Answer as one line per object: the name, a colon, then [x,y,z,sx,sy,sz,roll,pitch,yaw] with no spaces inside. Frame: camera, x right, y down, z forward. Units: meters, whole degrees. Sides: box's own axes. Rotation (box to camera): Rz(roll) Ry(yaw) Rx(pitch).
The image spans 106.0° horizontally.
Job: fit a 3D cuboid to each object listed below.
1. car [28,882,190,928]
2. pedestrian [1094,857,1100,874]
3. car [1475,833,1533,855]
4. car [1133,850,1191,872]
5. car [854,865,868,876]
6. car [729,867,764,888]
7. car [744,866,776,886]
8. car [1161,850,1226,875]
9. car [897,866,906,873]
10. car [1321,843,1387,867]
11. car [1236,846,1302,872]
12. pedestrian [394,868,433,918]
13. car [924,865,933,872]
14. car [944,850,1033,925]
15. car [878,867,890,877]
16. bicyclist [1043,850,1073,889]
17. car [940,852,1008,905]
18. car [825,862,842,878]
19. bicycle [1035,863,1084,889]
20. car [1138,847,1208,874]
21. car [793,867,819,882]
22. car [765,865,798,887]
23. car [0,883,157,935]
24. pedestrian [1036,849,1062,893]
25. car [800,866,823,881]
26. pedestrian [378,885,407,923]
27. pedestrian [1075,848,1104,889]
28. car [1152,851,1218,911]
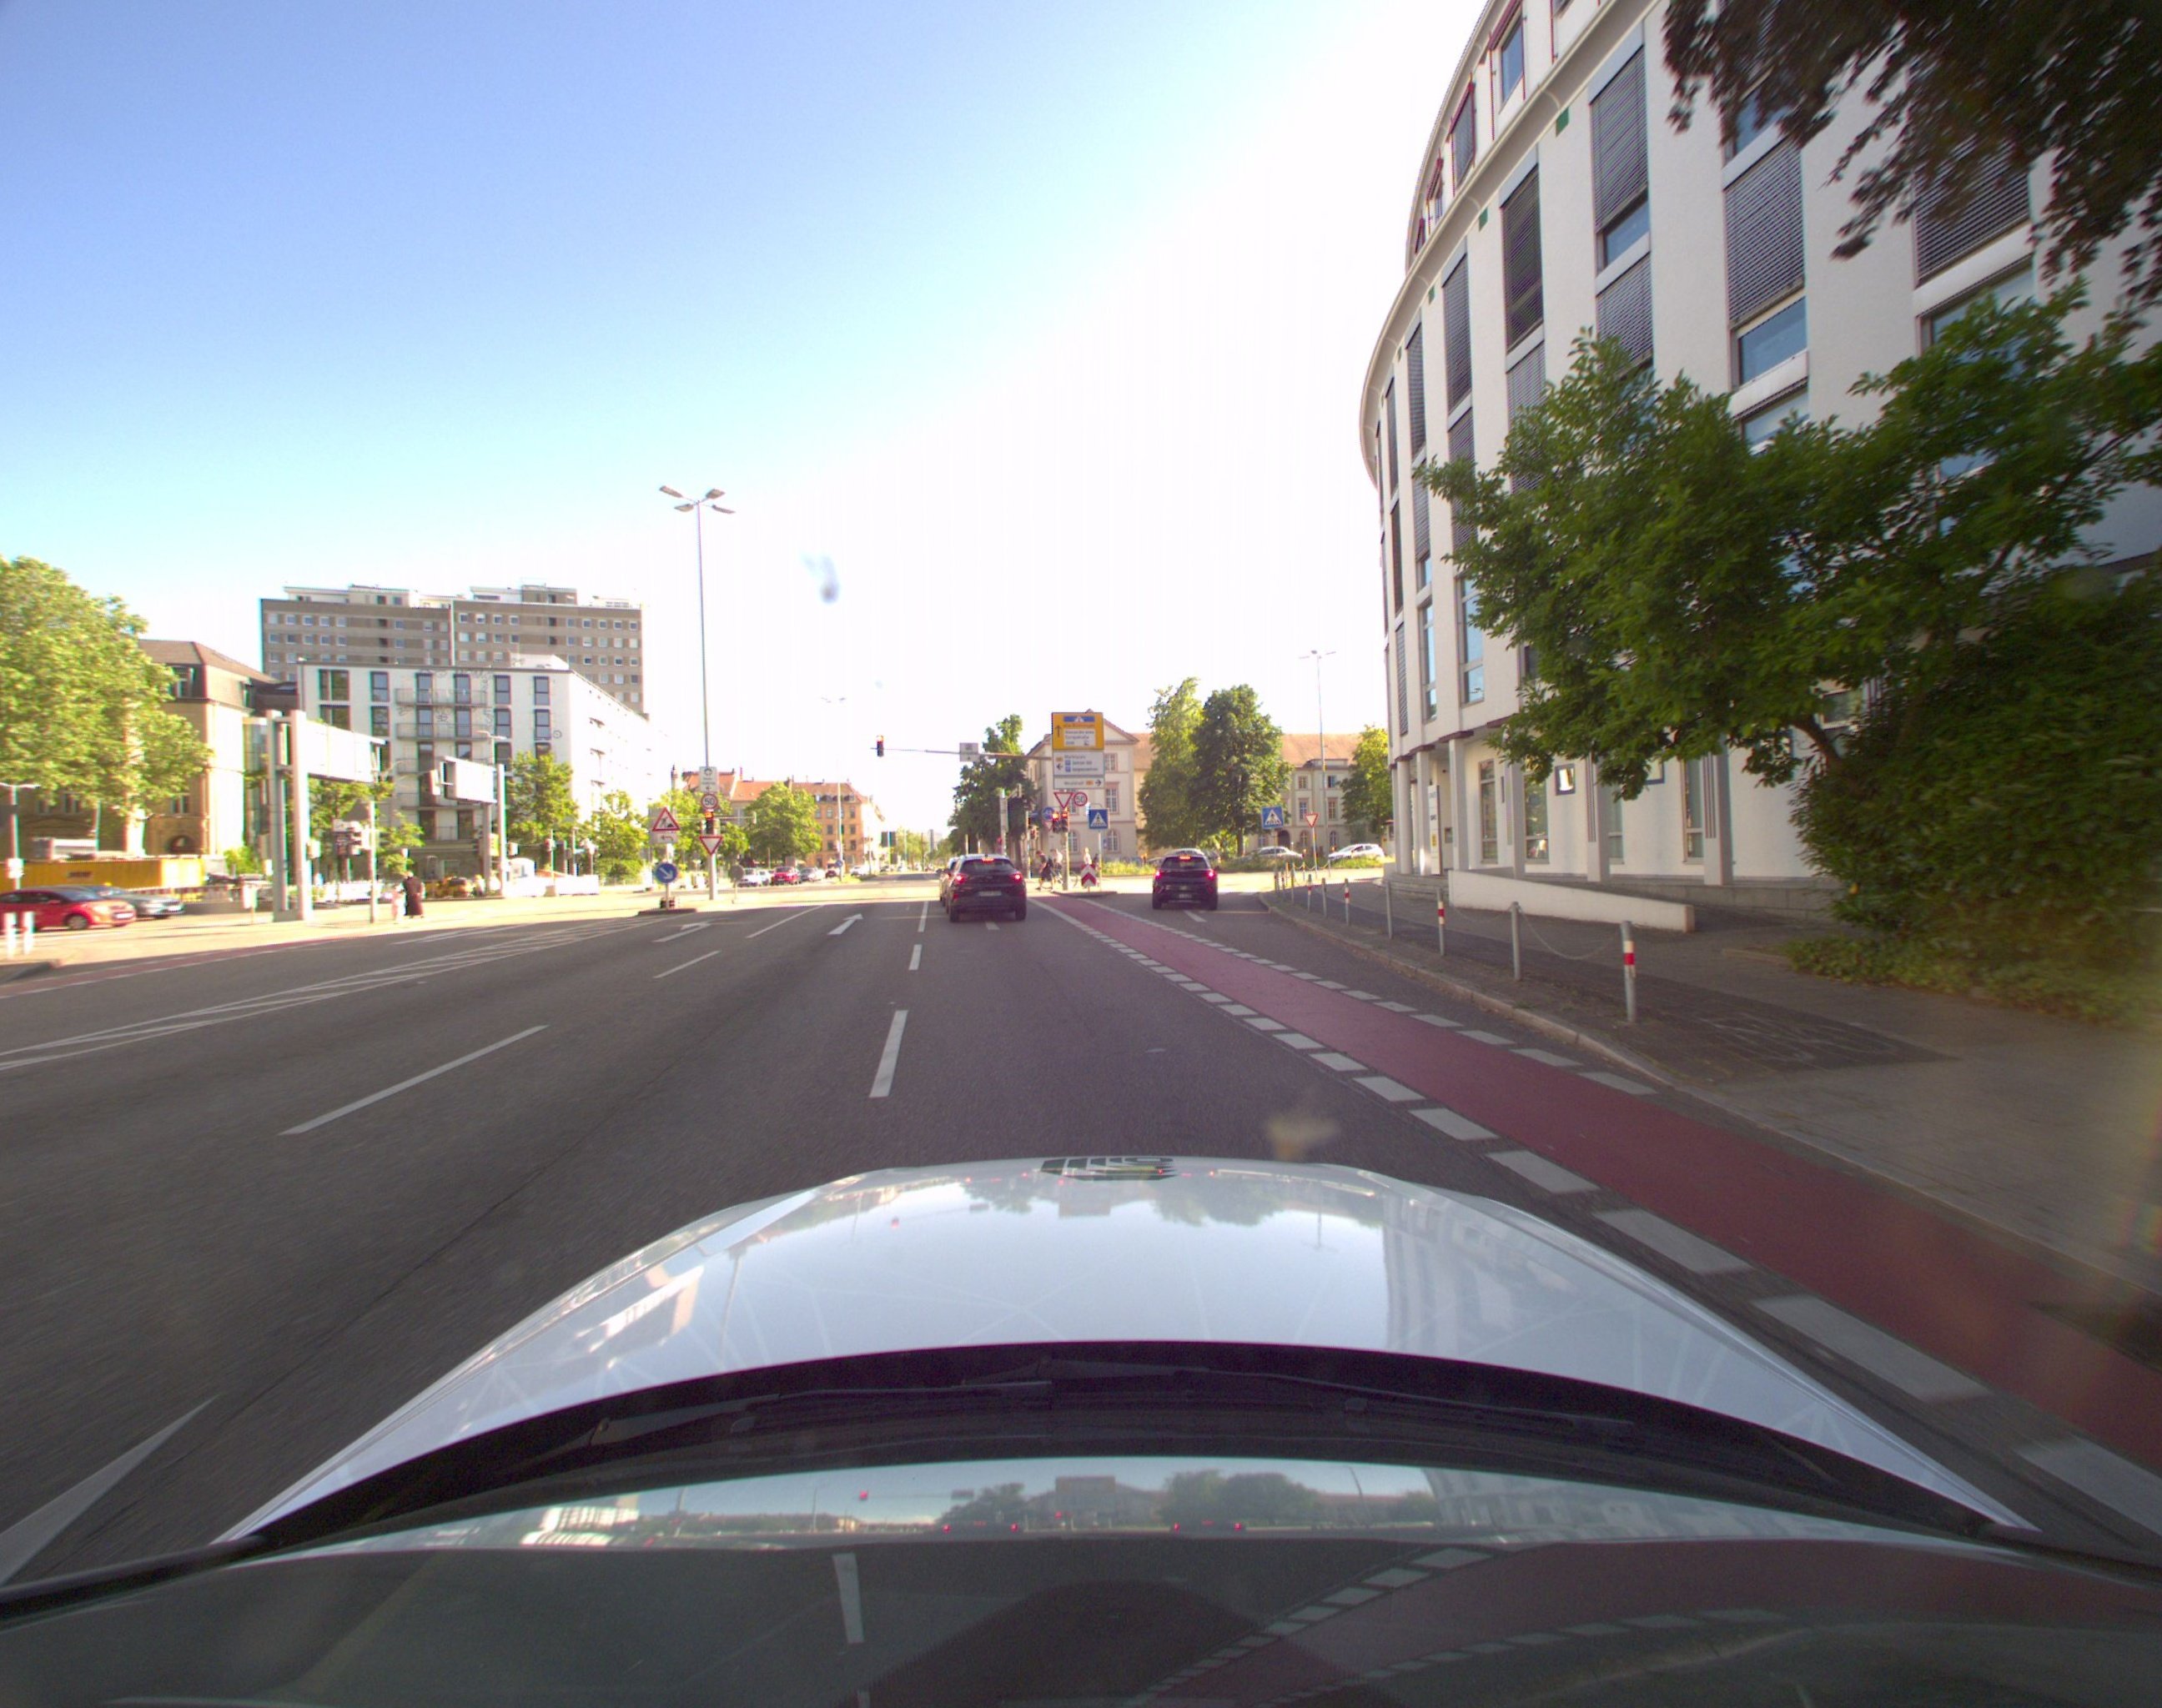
car: [-38.045,1.967,31.992,3.645,1.515,1.836,-3,0,-15]
pedestrian: [1.486,1.049,75.323,0.440,1.615,0.466,1,-1,-5]
car: [34.656,-0.816,66.786,3.996,1.644,1.912,-2,0,-17]
car: [6.286,0.549,63.554,4.125,1.601,1.811,-2,0,-18]
car: [-35.600,2.641,131.663,1.811,1.634,3.985,-2,0,-11]
car: [-27.574,1.899,67.296,1.875,1.617,3.985,-2,0,-11]
car: [-29.043,1.956,73.797,1.875,1.617,3.985,-2,0,-11]
car: [7.922,0.593,57.559,4.125,1.601,1.811,-2,0,-18]
car: [-37.312,3.223,169.431,1.811,1.448,3.985,-2,0,-11]
car: [19.432,0.081,58.046,4.185,1.508,1.811,-2,0,-18]
car: [12.862,0.348,55.775,3.995,1.644,1.913,-2,0,-16]
pedestrian: [-22.616,1.321,27.604,0.667,1.649,0.837,-2,0,35]
car: [-34.814,3.328,185.926,1.811,1.448,3.985,-2,0,-11]
car: [-2.348,0.745,19.863,1.831,1.578,3.825,-2,0,-11]
car: [-36.487,3.305,150.935,1.811,1.634,3.985,-2,0,-11]
bicyclist: [-0.985,0.673,35.096,1.166,1.633,0.726,-1,0,-14]
car: [-3.400,0.712,25.313,1.831,1.452,3.973,-2,0,-11]
car: [-33.985,2.208,111.835,1.811,2.134,3.985,-2,0,-11]
bicycle: [-0.917,0.937,35.098,2.034,1.061,0.619,-1,0,-14]
car: [6.038,0.439,53.433,4.125,1.601,1.811,-2,0,-18]
car: [-27.721,2.055,82.118,1.875,1.448,3.985,-2,0,-11]
car: [-24.240,1.765,66.076,1.792,1.617,3.985,-2,0,-11]
car: [-35.098,1.892,28.177,3.645,1.515,1.836,-3,0,-15]
pedestrian: [-1.305,0.677,32.672,0.827,1.702,0.912,-1,0,-16]
car: [-29.159,2.085,88.247,1.875,1.448,3.985,-2,0,-11]
pedestrian: [-22.469,1.621,26.580,0.667,1.166,0.668,-1,-1,-44]
pedestrian: [0.352,0.588,33.801,1.041,1.660,0.781,-2,0,-11]
car: [3.054,0.735,23.430,1.735,1.574,3.567,-1,-1,9]
